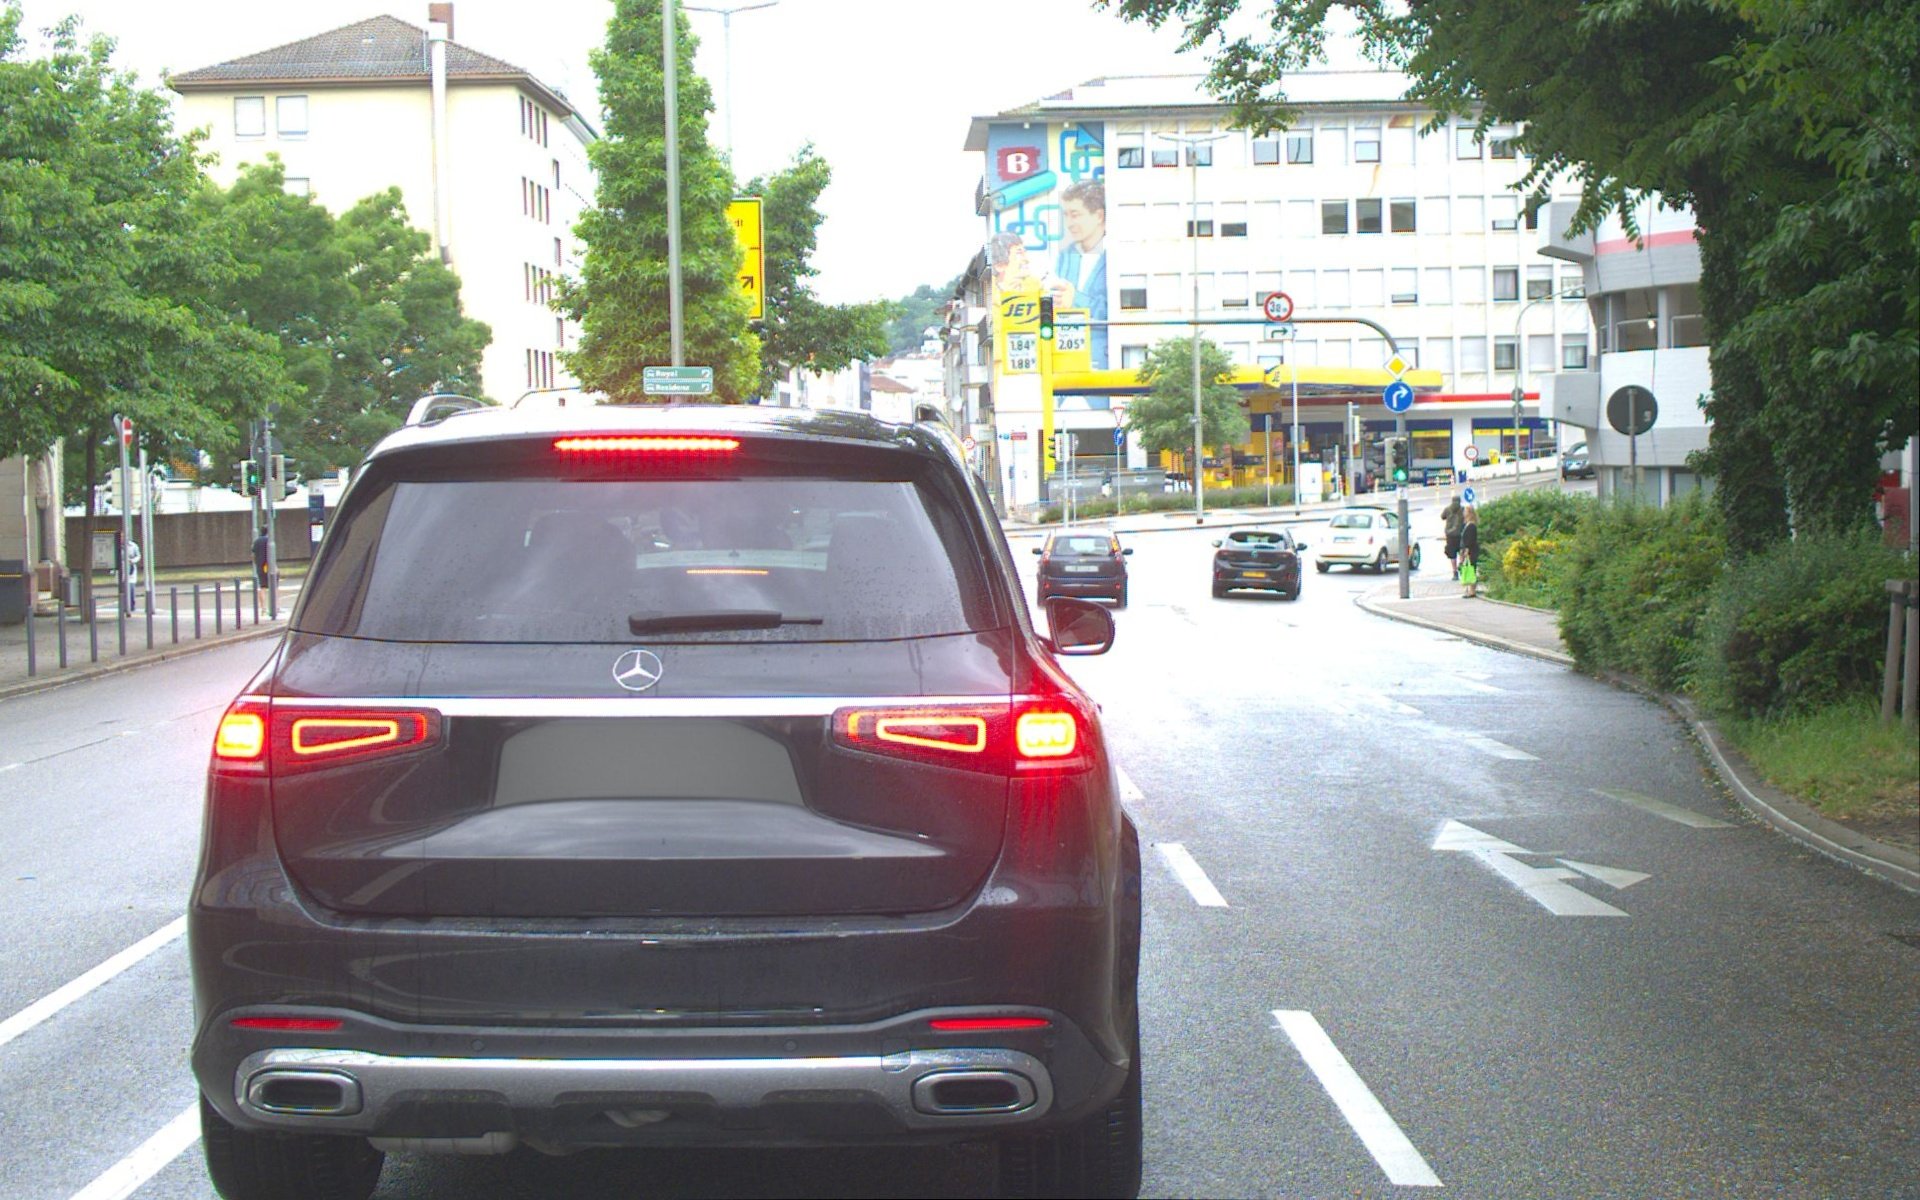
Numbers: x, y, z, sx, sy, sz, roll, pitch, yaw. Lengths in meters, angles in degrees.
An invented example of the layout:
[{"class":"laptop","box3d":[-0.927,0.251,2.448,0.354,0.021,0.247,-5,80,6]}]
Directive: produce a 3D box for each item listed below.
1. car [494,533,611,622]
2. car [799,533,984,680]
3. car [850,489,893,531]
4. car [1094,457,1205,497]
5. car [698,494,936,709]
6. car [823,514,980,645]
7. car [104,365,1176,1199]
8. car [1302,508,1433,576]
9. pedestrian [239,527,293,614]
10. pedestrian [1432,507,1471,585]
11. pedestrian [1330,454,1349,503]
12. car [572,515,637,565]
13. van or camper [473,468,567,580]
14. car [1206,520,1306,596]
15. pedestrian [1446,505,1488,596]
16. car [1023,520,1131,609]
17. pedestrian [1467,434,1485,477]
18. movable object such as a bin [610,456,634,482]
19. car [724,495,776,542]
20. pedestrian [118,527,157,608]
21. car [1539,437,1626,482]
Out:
[{"class":"car","box3d":[-7.220,-0.421,61.207,1.741,1.465,3.883,-3,1,-3]},{"class":"car","box3d":[-0.734,0.050,37.715,1.907,1.496,4.000,1,1,-1]},{"class":"car","box3d":[-4.438,-4.509,172.953,1.993,2.007,4.000,1,1,0]},{"class":"car","box3d":[7.056,-4.600,128.516,1.732,1.371,3.998,-3,3,-44]},{"class":"car","box3d":[-1.233,-0.006,31.169,1.993,1.794,4.000,1,1,-1]},{"class":"car","box3d":[-0.746,-0.268,44.268,1.907,1.581,4.000,1,1,-1]},{"class":"car","box3d":[-0.626,0.449,8.465,1.993,1.794,4.000,1,1,-1]},{"class":"car","box3d":[9.743,-1.376,81.999,1.757,1.543,3.994,1,1,28]},{"class":"pedestrian","box3d":[-13.616,-0.582,67.439,0.946,1.699,0.713,1,0,-17]},{"class":"pedestrian","box3d":[10.645,-1.167,74.480,0.717,1.684,0.456,1,0,-6]},{"class":"pedestrian","box3d":[13.271,-4.265,120.279,0.572,1.691,0.631,1,0,1]},{"class":"car","box3d":[-11.079,-1.863,107.368,1.797,1.489,3.804,1,1,-3]},{"class":"van or camper","box3d":[-10.814,-1.857,84.618,2.101,2.573,5.909,-3,1,-7]},{"class":"car","box3d":[5.993,-0.851,69.884,1.946,1.481,3.999,1,1,4]},{"class":"pedestrian","box3d":[9.632,-0.936,65.305,0.646,1.704,0.470,1,0,36]},{"class":"car","box3d":[2.138,-0.685,63.920,1.796,1.520,4.056,1,2,-1]},{"class":"pedestrian","box3d":[20.502,-5.744,136.642,0.526,1.721,0.688,0,2,26]},{"class":"movable object such as a bin","box3d":[-13.857,-5.374,140.988,0.910,1.034,0.844,1,0,1]},{"class":"car","box3d":[-7.955,-3.054,130.016,1.905,1.697,4.001,1,1,-3]},{"class":"pedestrian","box3d":[-16.995,-0.667,71.043,0.642,1.660,1.019,1,0,-6]},{"class":"car","box3d":[25.067,-5.674,138.305,1.997,1.700,3.993,0,2,33]}]
